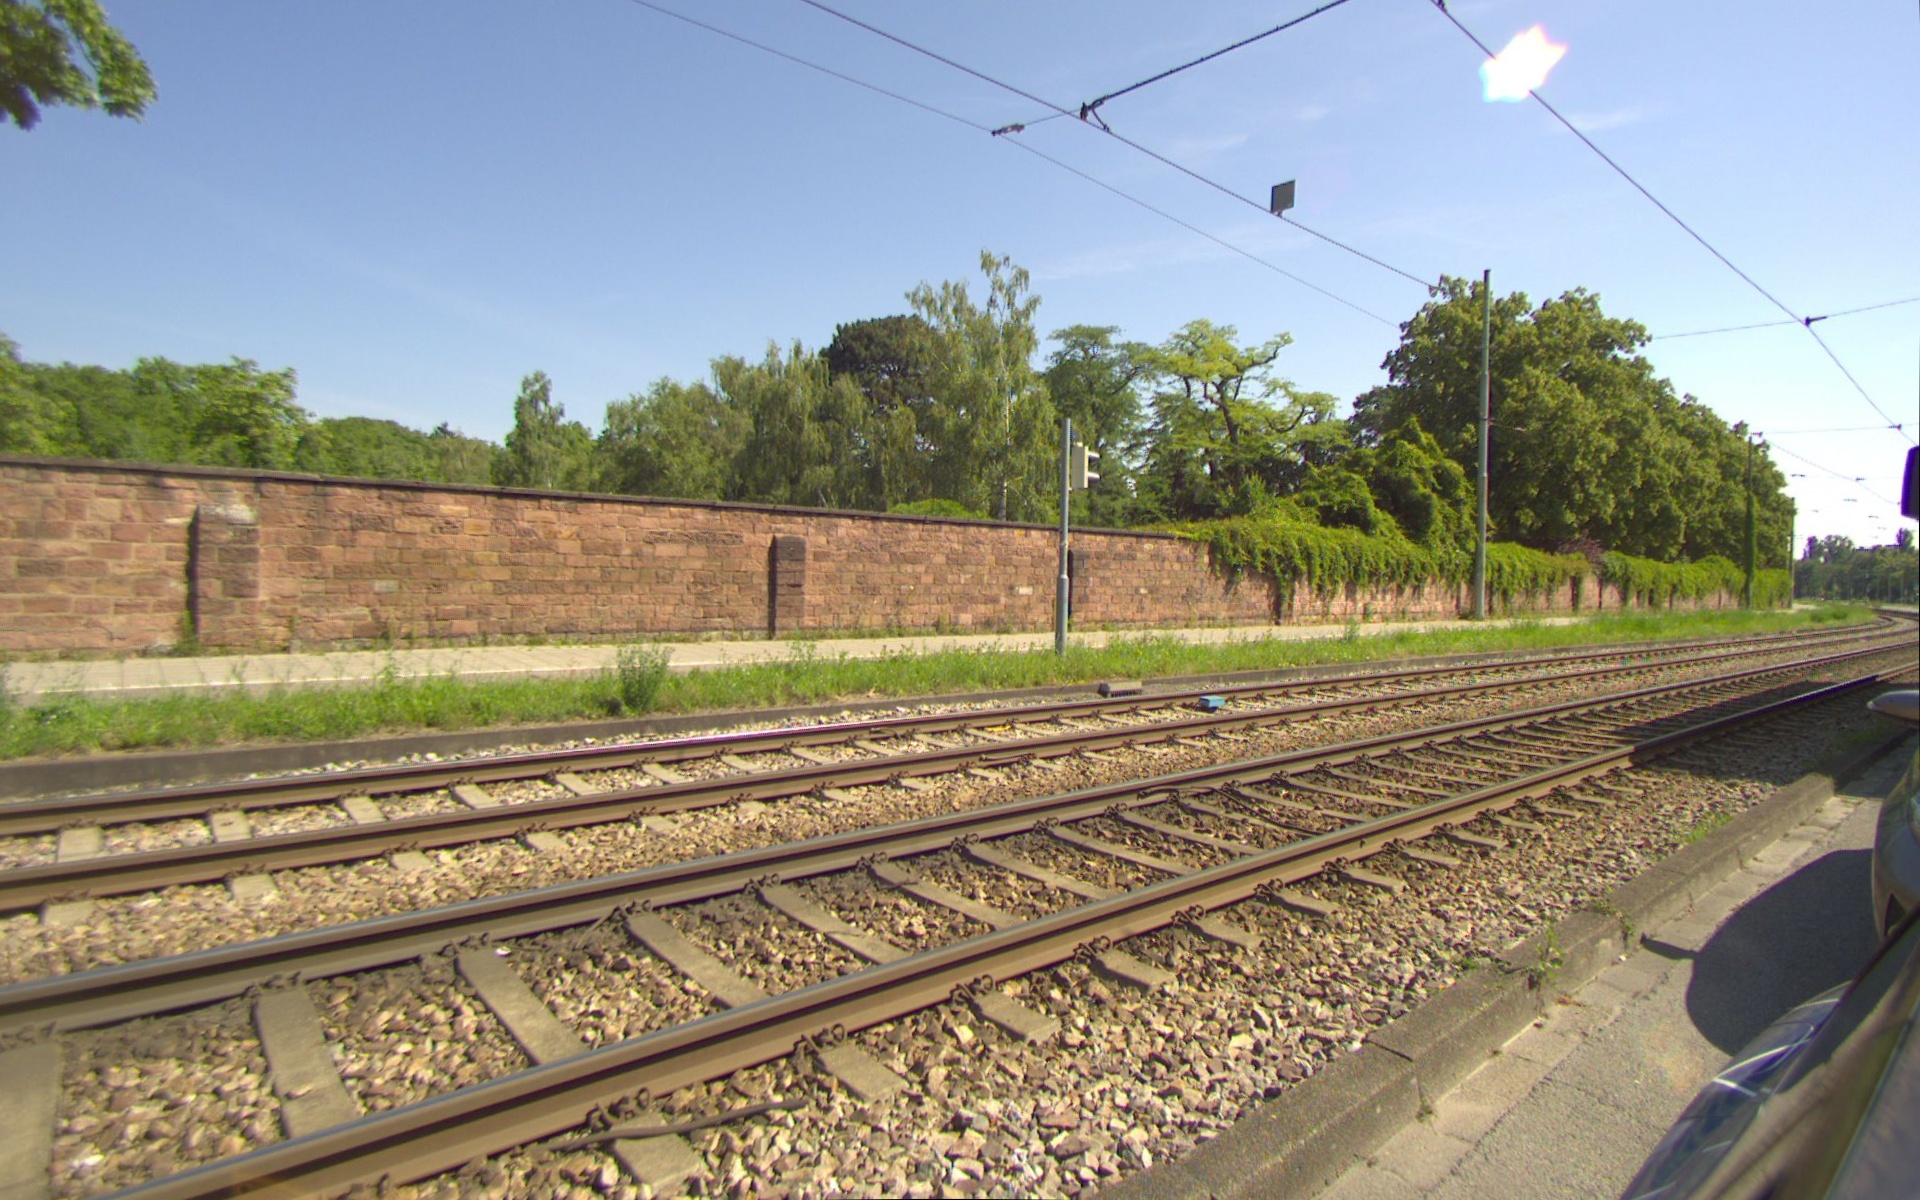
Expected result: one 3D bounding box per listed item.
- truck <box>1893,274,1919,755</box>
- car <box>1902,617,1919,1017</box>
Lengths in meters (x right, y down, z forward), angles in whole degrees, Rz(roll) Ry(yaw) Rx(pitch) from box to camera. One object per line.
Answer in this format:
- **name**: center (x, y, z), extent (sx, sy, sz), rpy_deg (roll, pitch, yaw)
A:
- **truck**: center (14.255, -0.651, 12.038), extent (14.652, 3.927, 2.934), rpy_deg (0, 2, -41)
- **car**: center (5.108, 0.665, 4.006), extent (3.930, 1.448, 1.573), rpy_deg (0, 2, -41)
